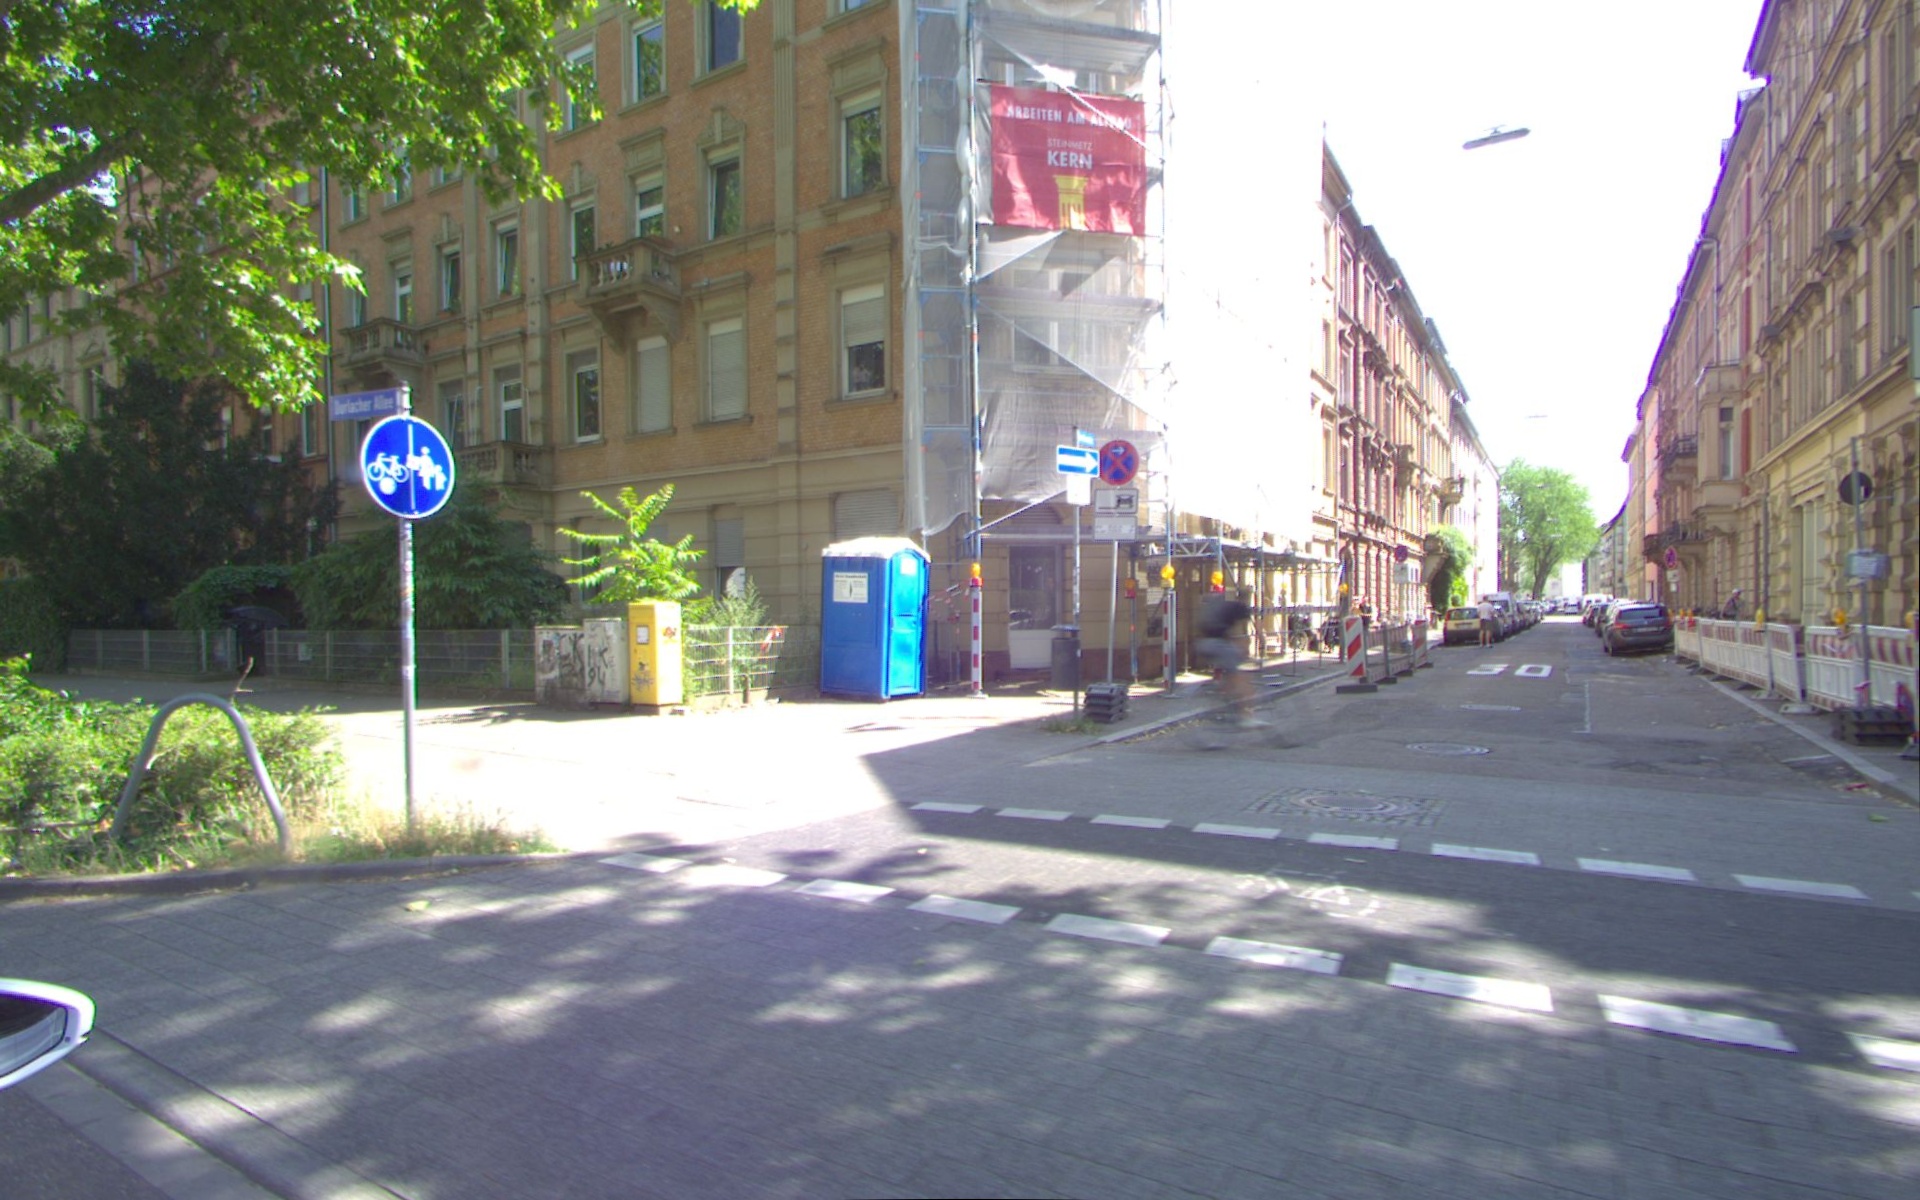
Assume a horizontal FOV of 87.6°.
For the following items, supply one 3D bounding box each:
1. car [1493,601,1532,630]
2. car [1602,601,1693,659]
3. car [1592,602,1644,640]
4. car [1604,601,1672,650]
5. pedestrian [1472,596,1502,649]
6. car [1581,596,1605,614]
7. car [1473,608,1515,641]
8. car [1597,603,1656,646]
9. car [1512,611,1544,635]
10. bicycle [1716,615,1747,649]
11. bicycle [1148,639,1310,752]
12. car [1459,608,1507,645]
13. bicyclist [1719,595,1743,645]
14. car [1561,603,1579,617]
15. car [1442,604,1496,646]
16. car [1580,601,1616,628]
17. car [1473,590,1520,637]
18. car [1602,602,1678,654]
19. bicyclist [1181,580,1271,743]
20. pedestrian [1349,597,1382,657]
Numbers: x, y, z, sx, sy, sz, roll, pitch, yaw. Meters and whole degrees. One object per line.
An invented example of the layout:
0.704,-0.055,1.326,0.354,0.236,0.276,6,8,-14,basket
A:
34.778,0.950,62.974,1.886,1.732,4.139,0,0,33,car
20.194,0.835,29.560,1.971,1.572,3.980,-1,0,31,car
32.253,0.997,49.155,1.971,1.762,3.980,-1,0,31,car
26.196,0.949,38.817,1.971,1.762,3.980,-1,0,31,car
18.700,0.796,35.499,0.922,1.822,1.034,0,0,29,pedestrian
63.980,0.502,101.196,1.971,1.762,3.980,0,0,31,car
26.258,1.161,49.170,1.702,1.549,3.478,0,0,31,car
28.975,1.033,43.608,1.971,1.762,3.980,-1,0,31,car
42.841,1.694,75.462,1.886,1.732,4.139,0,0,33,car
23.335,0.958,30.293,0.530,0.991,1.304,0,0,28,bicycle
2.879,0.973,10.620,1.900,1.063,0.529,0,0,-33,bicycle
23.081,1.150,44.118,1.702,1.549,3.478,-1,0,30,car
23.366,0.602,30.355,0.525,1.472,0.459,0,0,29,bicyclist
79.351,1.249,130.252,1.971,1.762,3.980,-1,0,31,car
20.056,0.952,39.389,1.702,1.549,3.478,0,0,31,car
43.521,0.989,68.402,1.971,1.762,3.980,-1,0,31,car
28.739,0.716,53.550,1.886,2.405,4.224,0,0,33,car
23.525,0.926,34.780,1.971,1.661,3.980,-1,0,31,car
2.786,0.623,10.511,0.685,1.644,0.621,0,0,-32,bicyclist
12.118,0.796,29.945,0.843,1.748,0.834,-1,0,19,pedestrian
